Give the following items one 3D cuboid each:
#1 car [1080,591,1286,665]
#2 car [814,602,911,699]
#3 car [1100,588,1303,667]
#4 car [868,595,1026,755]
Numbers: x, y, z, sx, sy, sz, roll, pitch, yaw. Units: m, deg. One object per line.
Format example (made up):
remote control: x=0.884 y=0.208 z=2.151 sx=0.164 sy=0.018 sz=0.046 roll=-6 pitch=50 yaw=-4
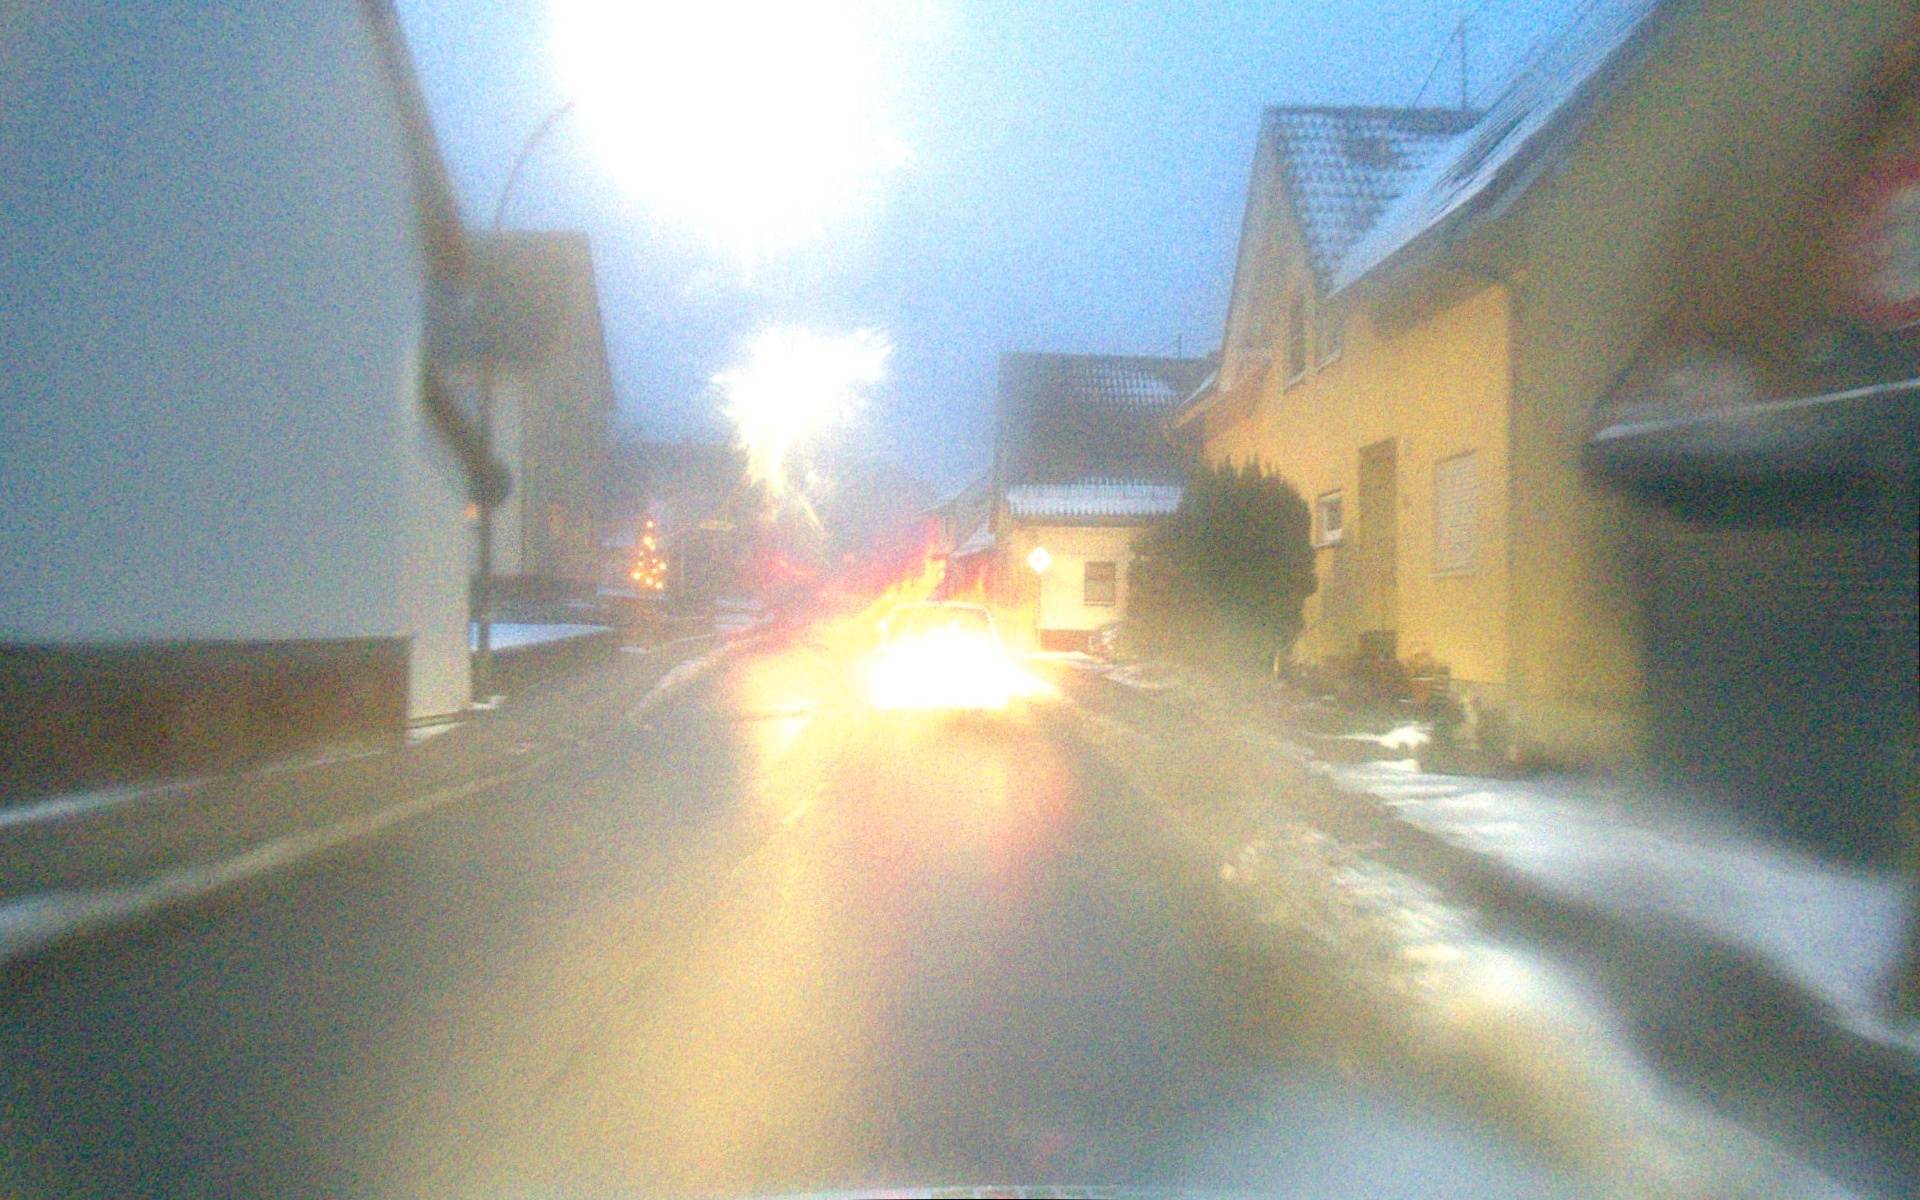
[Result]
car: x=4.822 y=0.603 z=36.109 sx=4.090 sy=1.458 sz=1.898 roll=2 pitch=0 yaw=-7
car: x=-1.770 y=0.899 z=30.349 sx=1.612 sy=1.624 sz=3.697 roll=2 pitch=-1 yaw=-3
car: x=4.799 y=0.519 z=33.137 sx=3.671 sy=1.523 sz=1.818 roll=0 pitch=0 yaw=-8
car: x=-0.181 y=0.818 z=19.229 sx=1.612 sy=1.624 sz=3.698 roll=2 pitch=-1 yaw=-1
